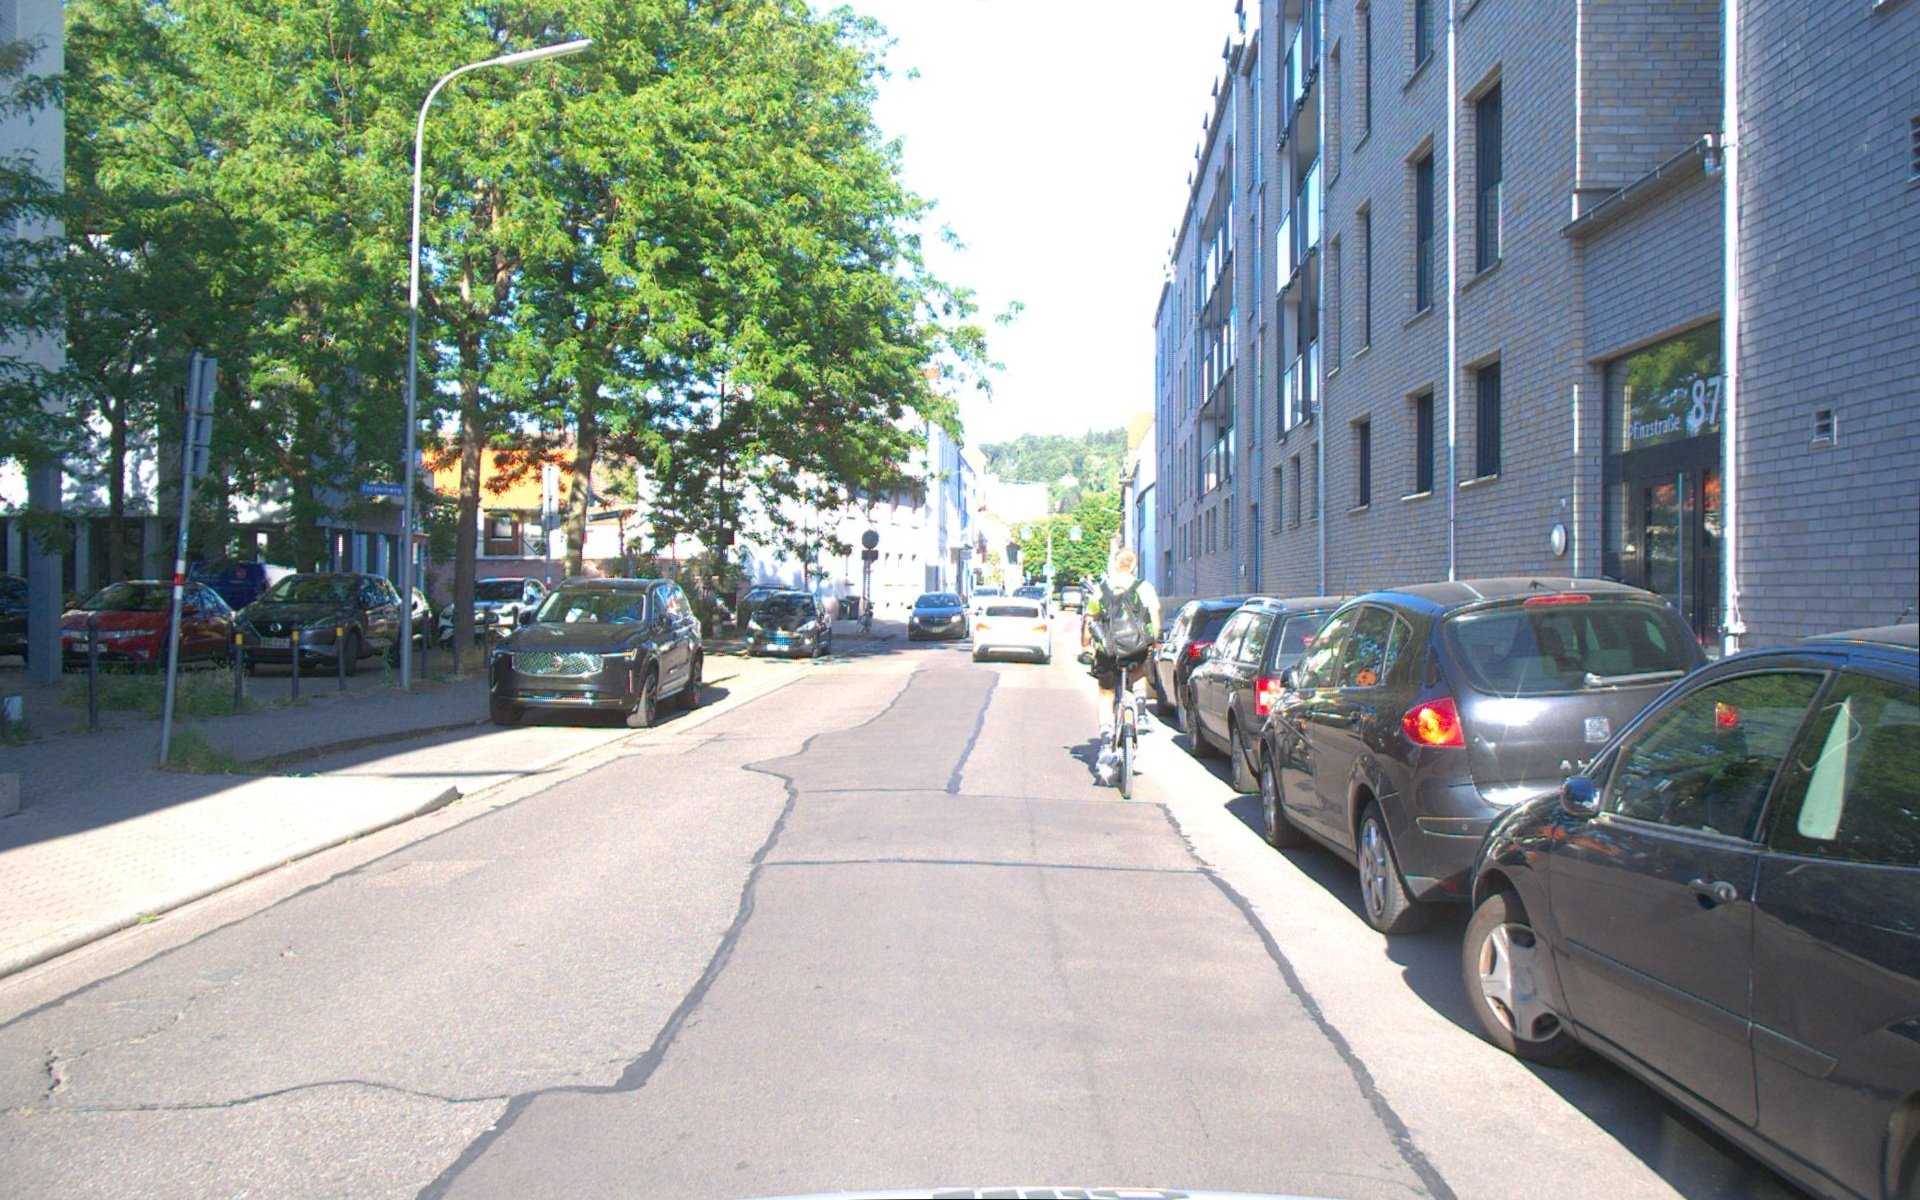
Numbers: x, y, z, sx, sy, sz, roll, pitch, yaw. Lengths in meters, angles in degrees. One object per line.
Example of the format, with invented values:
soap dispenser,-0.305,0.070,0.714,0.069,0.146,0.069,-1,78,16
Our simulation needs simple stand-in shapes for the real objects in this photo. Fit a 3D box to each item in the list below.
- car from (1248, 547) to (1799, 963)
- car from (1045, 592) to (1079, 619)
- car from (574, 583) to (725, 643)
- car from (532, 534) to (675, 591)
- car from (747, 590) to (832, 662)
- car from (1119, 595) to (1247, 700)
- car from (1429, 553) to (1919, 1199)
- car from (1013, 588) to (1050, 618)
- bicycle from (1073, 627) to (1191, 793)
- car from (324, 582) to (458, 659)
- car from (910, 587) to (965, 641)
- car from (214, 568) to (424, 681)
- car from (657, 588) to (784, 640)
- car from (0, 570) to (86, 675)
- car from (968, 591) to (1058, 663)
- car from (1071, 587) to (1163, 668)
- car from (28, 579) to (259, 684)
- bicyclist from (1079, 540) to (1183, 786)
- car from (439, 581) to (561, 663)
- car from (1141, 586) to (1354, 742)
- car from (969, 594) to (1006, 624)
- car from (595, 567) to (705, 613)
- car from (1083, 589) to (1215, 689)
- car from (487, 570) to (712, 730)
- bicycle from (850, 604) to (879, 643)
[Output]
car,2.728,0.651,8.956,1.630,1.732,3.914,1,0,0
car,6.916,0.360,112.217,1.816,1.823,4.605,1,0,-2
car,-8.777,0.363,46.892,3.818,1.603,1.711,1,0,7
car,-10.682,-1.112,49.699,3.819,1.603,1.711,1,0,5
car,-4.063,0.593,39.956,1.669,1.603,3.913,1,0,-1
car,3.422,0.701,25.917,1.477,1.469,3.529,-2,0,0
car,2.670,0.691,4.375,1.596,1.615,4.068,-2,0,-1
car,4.135,0.200,95.452,1.904,1.615,4.624,-2,0,5
bicycle,1.303,0.799,12.939,0.684,1.150,2.403,1,-1,1
car,-13.100,0.437,38.320,1.820,1.614,3.670,3,0,-1
car,-0.697,0.424,51.702,1.630,1.603,3.913,1,0,-1
car,-10.406,0.356,27.248,1.821,1.614,4.618,3,0,-3
car,-7.785,0.441,53.983,3.820,1.603,1.710,1,0,2
car,-15.926,0.321,26.159,1.820,1.614,4.619,3,0,-2
car,1.157,0.609,37.943,1.805,1.517,4.143,1,-1,-1
car,3.647,0.635,39.146,1.819,1.732,4.622,-2,0,2
car,-12.906,0.453,26.436,1.684,1.474,4.142,3,0,-2
bicyclist,1.311,0.472,12.852,0.684,1.821,1.041,1,-1,1
car,-10.643,0.473,38.540,1.754,1.719,3.963,3,0,-2
car,3.290,0.681,19.789,1.819,1.615,4.622,1,0,1
car,1.605,0.513,95.669,1.904,1.615,4.623,-2,0,3
car,-11.277,-0.361,60.423,3.827,1.603,1.707,1,0,-8
car,3.358,0.665,30.185,1.820,1.615,4.621,-2,0,0
car,-4.529,0.571,21.480,1.815,1.823,4.608,1,0,1
bicycle,-3.159,0.755,55.033,0.818,1.239,2.841,1,0,-1
